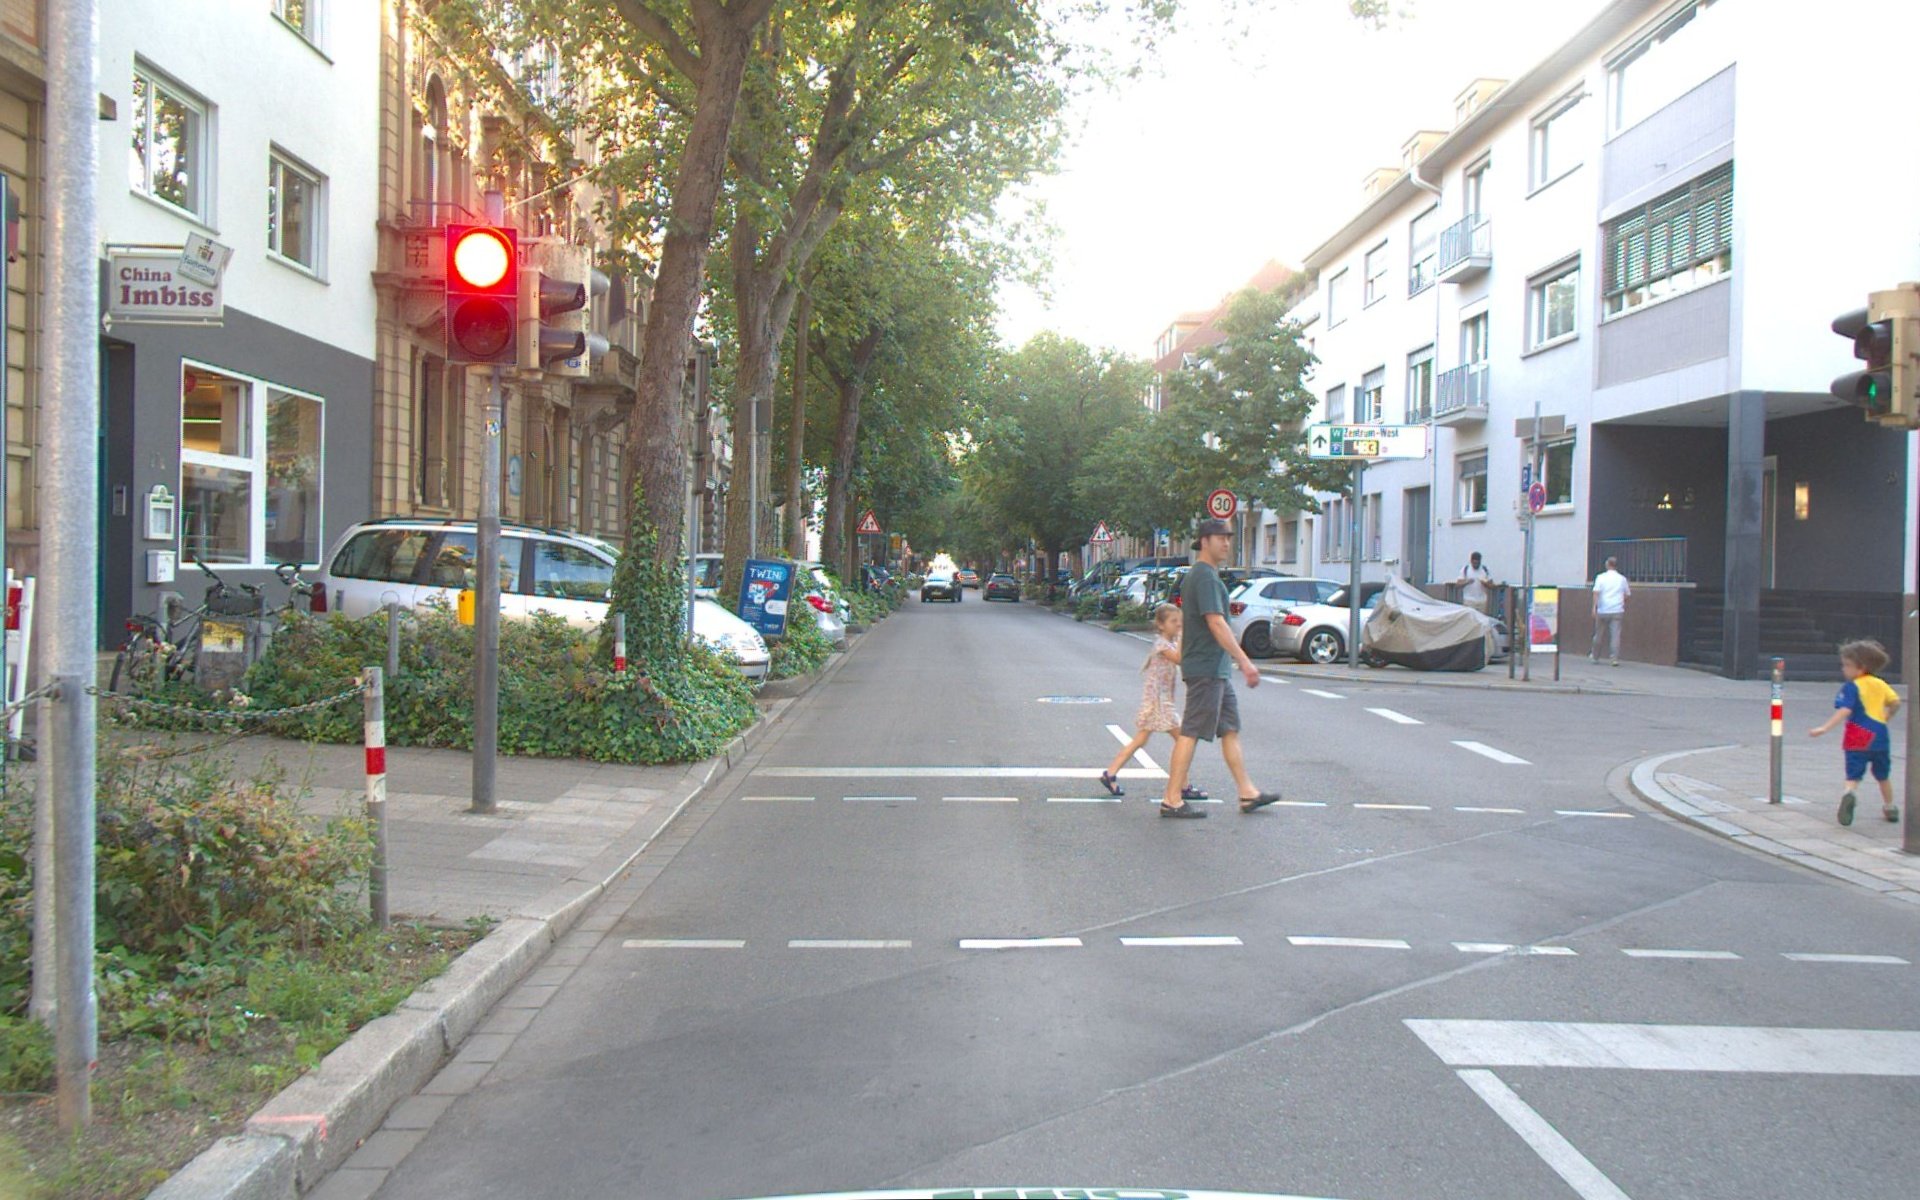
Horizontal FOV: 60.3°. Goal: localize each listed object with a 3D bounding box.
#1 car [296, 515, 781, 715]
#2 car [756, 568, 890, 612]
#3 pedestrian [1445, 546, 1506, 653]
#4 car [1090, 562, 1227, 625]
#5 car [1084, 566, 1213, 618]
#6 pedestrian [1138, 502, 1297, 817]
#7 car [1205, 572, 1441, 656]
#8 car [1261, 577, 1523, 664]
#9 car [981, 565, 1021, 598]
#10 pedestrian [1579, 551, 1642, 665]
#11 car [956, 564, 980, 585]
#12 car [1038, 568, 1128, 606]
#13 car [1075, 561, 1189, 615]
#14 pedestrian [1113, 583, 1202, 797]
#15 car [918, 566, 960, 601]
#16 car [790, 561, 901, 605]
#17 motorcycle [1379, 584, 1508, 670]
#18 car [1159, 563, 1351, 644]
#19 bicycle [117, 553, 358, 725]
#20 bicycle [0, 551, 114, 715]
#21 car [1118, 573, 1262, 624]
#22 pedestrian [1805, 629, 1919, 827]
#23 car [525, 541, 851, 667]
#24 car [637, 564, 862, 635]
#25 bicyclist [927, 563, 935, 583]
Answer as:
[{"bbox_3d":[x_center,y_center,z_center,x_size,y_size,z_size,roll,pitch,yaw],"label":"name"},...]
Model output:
[{"bbox_3d":[-4.106,0.139,16.729,4.457,1.867,1.832,1,1,-4],"label":"car"},{"bbox_3d":[-4.682,-0.368,57.075,4.455,1.434,1.833,1,1,0],"label":"car"},{"bbox_3d":[9.250,-0.022,29.690,0.751,1.873,0.943,1,1,0],"label":"pedestrian"},{"bbox_3d":[6.000,-0.200,50.274,3.933,1.847,1.707,0,1,-1],"label":"car"},{"bbox_3d":[6.019,-0.261,53.131,3.933,1.556,1.707,1,1,-1],"label":"car"},{"bbox_3d":[1.562,0.343,10.169,0.869,1.847,0.794,1,1,4],"label":"pedestrian"},{"bbox_3d":[6.591,0.240,30.304,3.933,1.467,1.707,0,1,-1],"label":"car"},{"bbox_3d":[7.167,0.326,27.671,3.932,1.366,1.707,0,1,0],"label":"car"},{"bbox_3d":[2.117,-0.977,86.368,1.788,1.588,4.027,2,1,-2],"label":"car"},{"bbox_3d":[10.361,0.121,26.358,0.689,1.782,0.700,1,1,3],"label":"pedestrian"},{"bbox_3d":[0.678,-2.187,140.628,1.885,1.688,4.000,1,1,-1],"label":"car"},{"bbox_3d":[5.601,-0.607,75.400,3.933,1.629,1.707,1,1,-1],"label":"car"},{"bbox_3d":[6.246,-0.457,60.417,3.933,1.862,1.707,1,1,-1],"label":"car"},{"bbox_3d":[1.295,0.578,10.916,0.528,1.359,0.507,2,1,4],"label":"pedestrian"},{"bbox_3d":[-1.058,-0.833,81.217,1.866,1.605,3.989,2,1,-3],"label":"car"},{"bbox_3d":[-4.762,-0.732,69.296,4.455,1.721,1.833,1,1,0],"label":"car"},{"bbox_3d":[7.136,0.386,24.471,1.761,1.220,0.613,1,1,8],"label":"motorcycle"},{"bbox_3d":[6.504,0.064,36.706,3.933,1.720,1.707,0,1,-1],"label":"car"},{"bbox_3d":[-5.684,0.260,13.231,0.719,1.207,2.634,2,1,0],"label":"bicycle"},{"bbox_3d":[-7.479,0.237,12.694,0.623,1.222,2.564,1,1,1],"label":"bicycle"},{"bbox_3d":[6.626,-0.055,47.947,3.933,1.434,1.707,0,1,-1],"label":"car"},{"bbox_3d":[5.664,0.764,10.217,0.553,1.140,0.838,0,1,8],"label":"pedestrian"},{"bbox_3d":[-3.899,0.041,24.282,4.455,1.718,1.833,1,1,0],"label":"car"},{"bbox_3d":[-4.331,-0.033,34.566,4.455,1.396,1.833,1,1,0],"label":"car"},{"bbox_3d":[-2.256,-2.105,129.531,0.560,1.495,0.642,2,0,-7],"label":"bicyclist"}]
